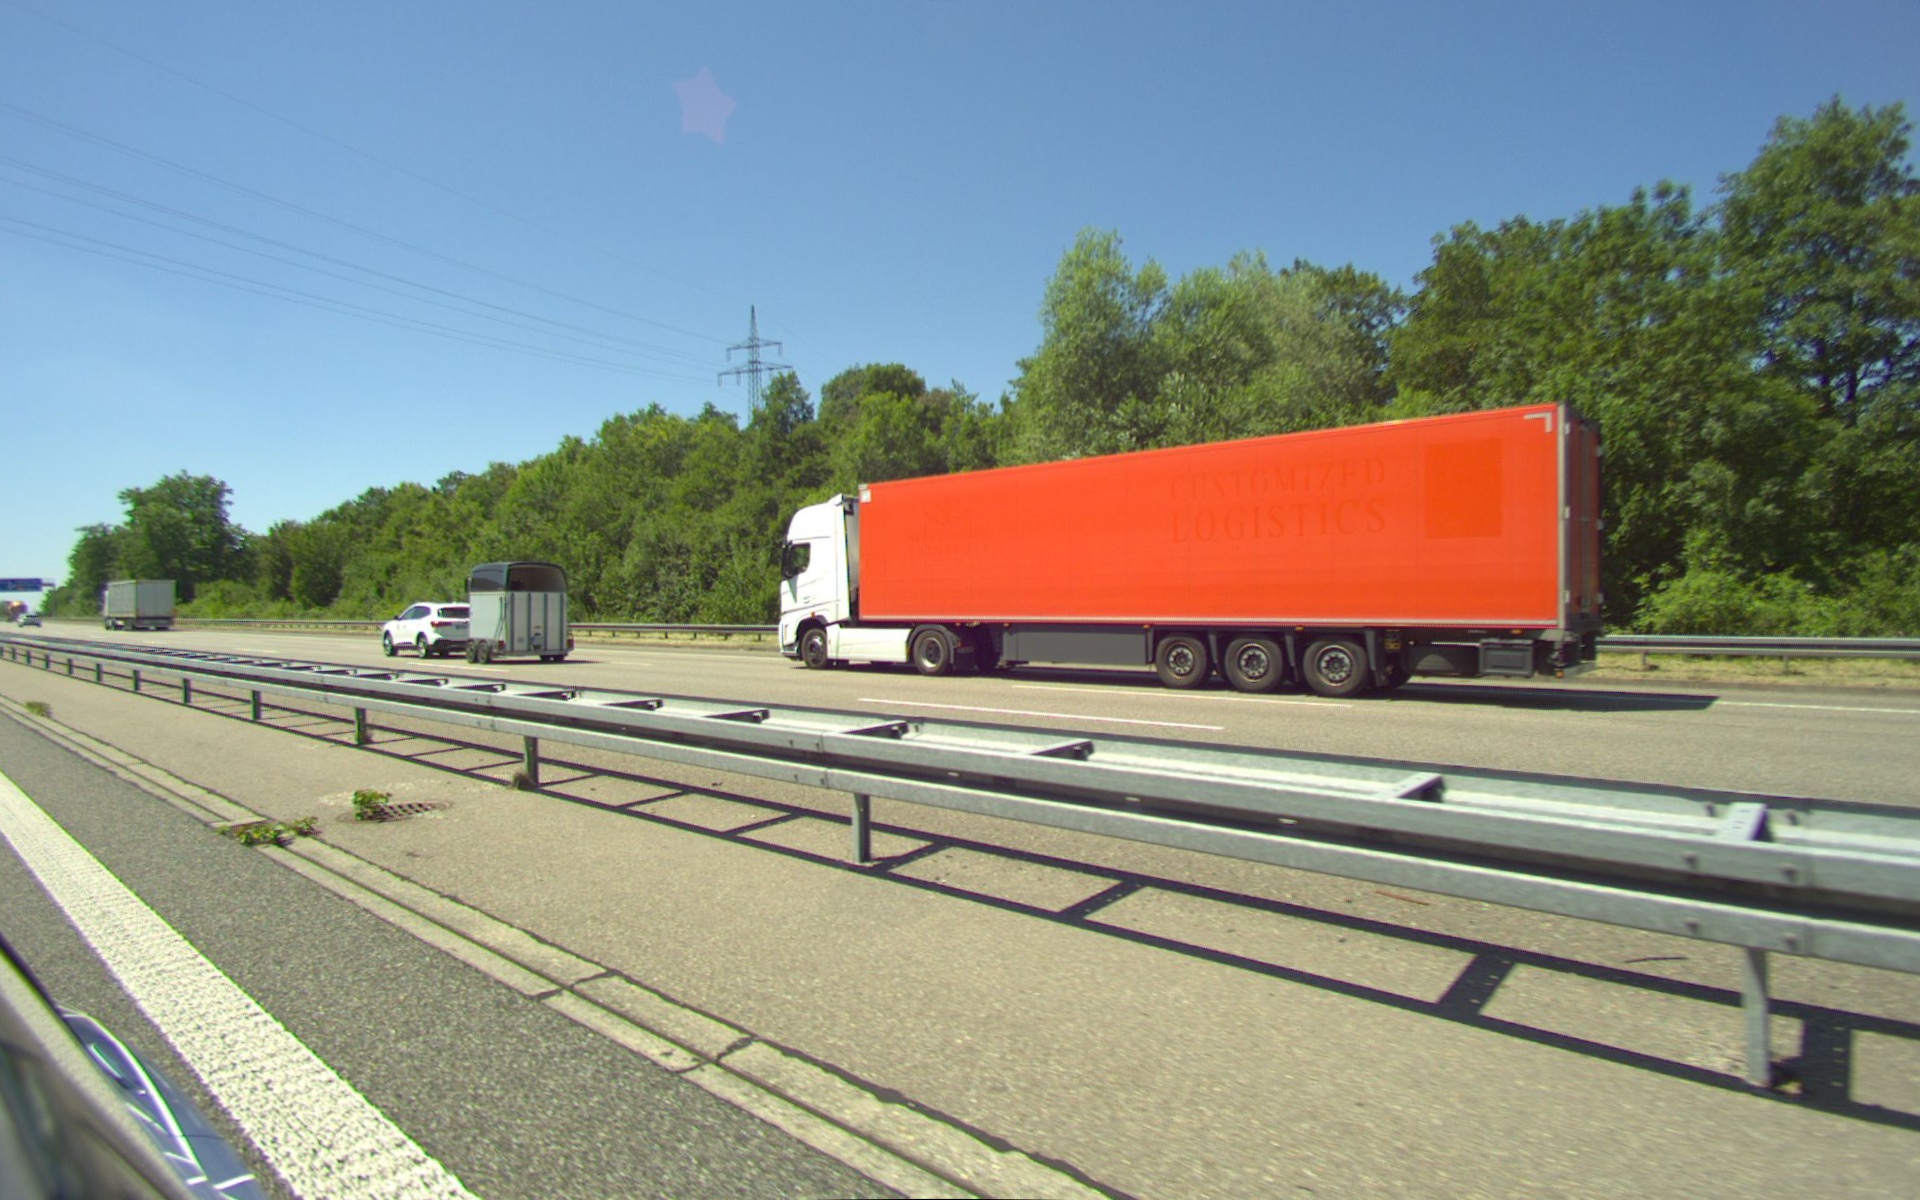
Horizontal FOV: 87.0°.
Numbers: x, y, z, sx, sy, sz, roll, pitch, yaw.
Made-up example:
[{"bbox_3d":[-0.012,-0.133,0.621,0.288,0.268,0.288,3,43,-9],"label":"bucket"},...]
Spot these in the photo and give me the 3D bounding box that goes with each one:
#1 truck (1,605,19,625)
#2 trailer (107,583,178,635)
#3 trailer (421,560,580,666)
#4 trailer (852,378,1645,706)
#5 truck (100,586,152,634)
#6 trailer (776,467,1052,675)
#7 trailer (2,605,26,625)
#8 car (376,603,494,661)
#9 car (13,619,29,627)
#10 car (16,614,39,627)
[{"bbox_3d":[-180.912,2.879,192.722,4.163,3.629,2.331,-1,-1,43],"label":"truck"},{"bbox_3d":[-67.826,0.783,83.822,13.662,3.996,2.642,-1,-1,43],"label":"trailer"},{"bbox_3d":[-12.637,0.357,27.673,4.952,2.633,2.065,-1,-1,40],"label":"trailer"},{"bbox_3d":[3.769,-0.631,18.328,14.046,4.098,2.655,-1,-1,42],"label":"trailer"},{"bbox_3d":[-73.523,0.890,89.162,6.553,4.015,2.631,-1,-1,43],"label":"truck"},{"bbox_3d":[-1.180,-0.525,22.776,6.034,4.072,2.660,-1,-1,41],"label":"trailer"},{"bbox_3d":[-175.355,2.765,187.478,14.221,3.623,2.346,-1,-1,43],"label":"trailer"},{"bbox_3d":[-15.984,0.930,30.723,4.016,1.644,1.817,-1,-1,41],"label":"car"},{"bbox_3d":[-161.250,3.948,173.784,4.000,1.490,1.702,-1,-1,43],"label":"car"},{"bbox_3d":[-104.592,2.315,113.455,4.124,1.465,1.646,-1,-1,43],"label":"car"}]
